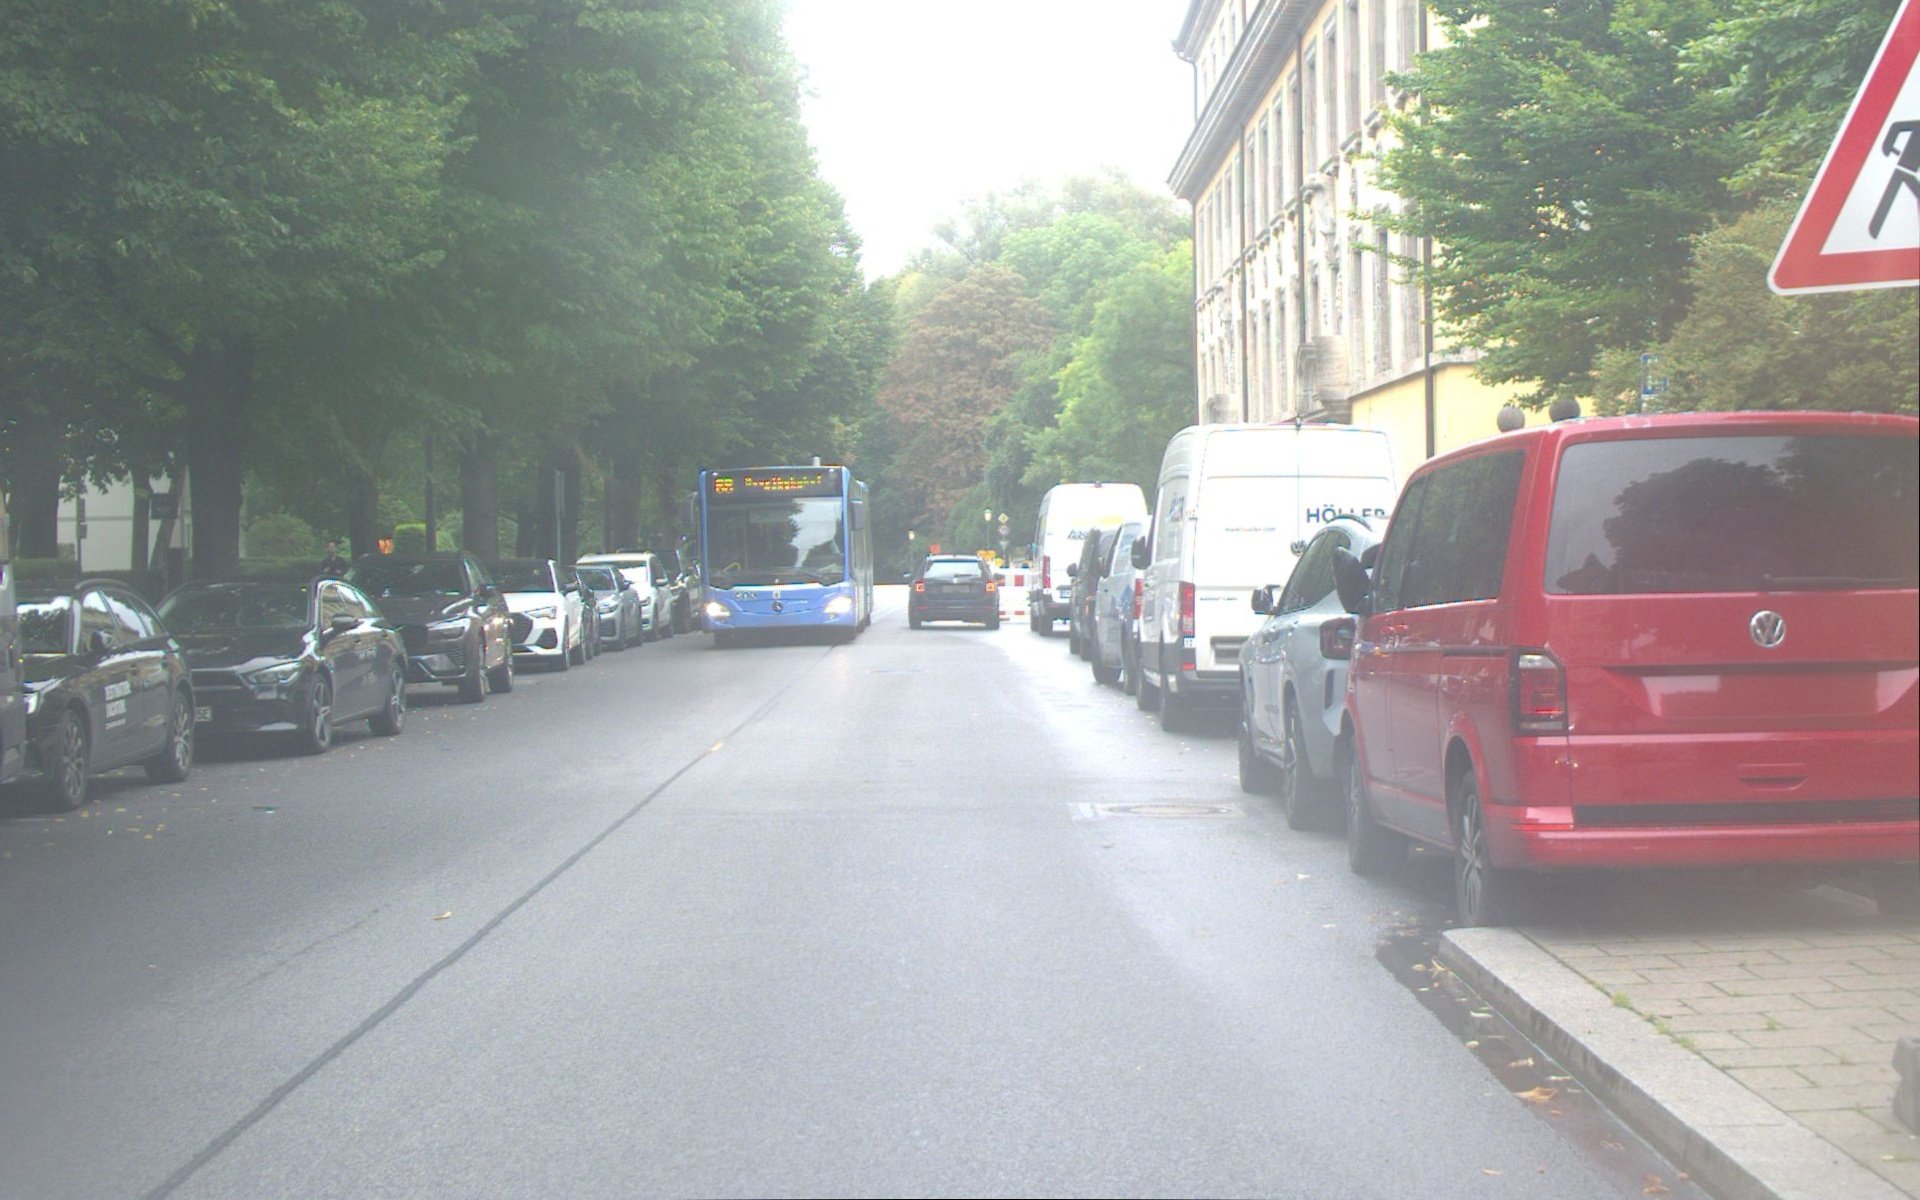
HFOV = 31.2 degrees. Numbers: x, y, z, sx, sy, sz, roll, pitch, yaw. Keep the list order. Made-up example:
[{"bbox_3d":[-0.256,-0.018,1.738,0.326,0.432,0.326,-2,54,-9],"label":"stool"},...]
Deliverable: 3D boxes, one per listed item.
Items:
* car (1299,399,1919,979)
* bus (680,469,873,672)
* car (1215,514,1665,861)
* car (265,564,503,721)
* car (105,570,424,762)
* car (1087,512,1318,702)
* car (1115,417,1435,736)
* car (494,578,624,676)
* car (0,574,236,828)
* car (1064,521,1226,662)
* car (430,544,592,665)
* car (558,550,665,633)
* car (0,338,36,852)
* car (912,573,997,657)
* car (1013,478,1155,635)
[{"bbox_3d":[2.704,0.308,14.488,1.858,1.961,5.445,-1,0,-1],"label":"car"},{"bbox_3d":[-3.200,-0.452,64.684,2.859,3.228,18.426,-1,0,-1],"label":"bus"},{"bbox_3d":[2.593,0.414,19.640,1.859,1.735,4.603,0,1,-1],"label":"car"},{"bbox_3d":[-5.715,0.407,34.513,1.790,1.449,3.949,-1,0,-1],"label":"car"},{"bbox_3d":[-5.626,0.506,28.344,1.790,1.433,4.551,-1,0,-1],"label":"car"},{"bbox_3d":[2.538,0.046,37.223,2.013,1.900,5.164,0,1,-1],"label":"car"},{"bbox_3d":[2.605,-0.177,29.900,2.095,2.479,5.740,-1,0,-1],"label":"car"},{"bbox_3d":[-6.334,0.402,54.657,1.672,1.464,4.104,-1,0,-2],"label":"car"},{"bbox_3d":[-6.229,0.602,22.866,1.790,1.433,4.578,-1,1,1],"label":"car"},{"bbox_3d":[2.560,-0.133,48.681,1.870,1.862,4.987,-1,0,-2],"label":"car"},{"bbox_3d":[-6.274,0.042,48.448,1.784,1.592,4.585,-1,0,-2],"label":"car"},{"bbox_3d":[-6.452,-0.165,64.008,1.672,1.464,4.104,-1,0,-2],"label":"car"},{"bbox_3d":[-6.226,-0.026,16.647,1.945,2.845,6.236,-1,0,-2],"label":"car"},{"bbox_3d":[-0.084,0.277,67.841,1.577,1.578,4.044,-1,0,1],"label":"car"},{"bbox_3d":[2.189,-0.772,62.858,2.054,2.664,7.615,-1,0,-2],"label":"car"}]
